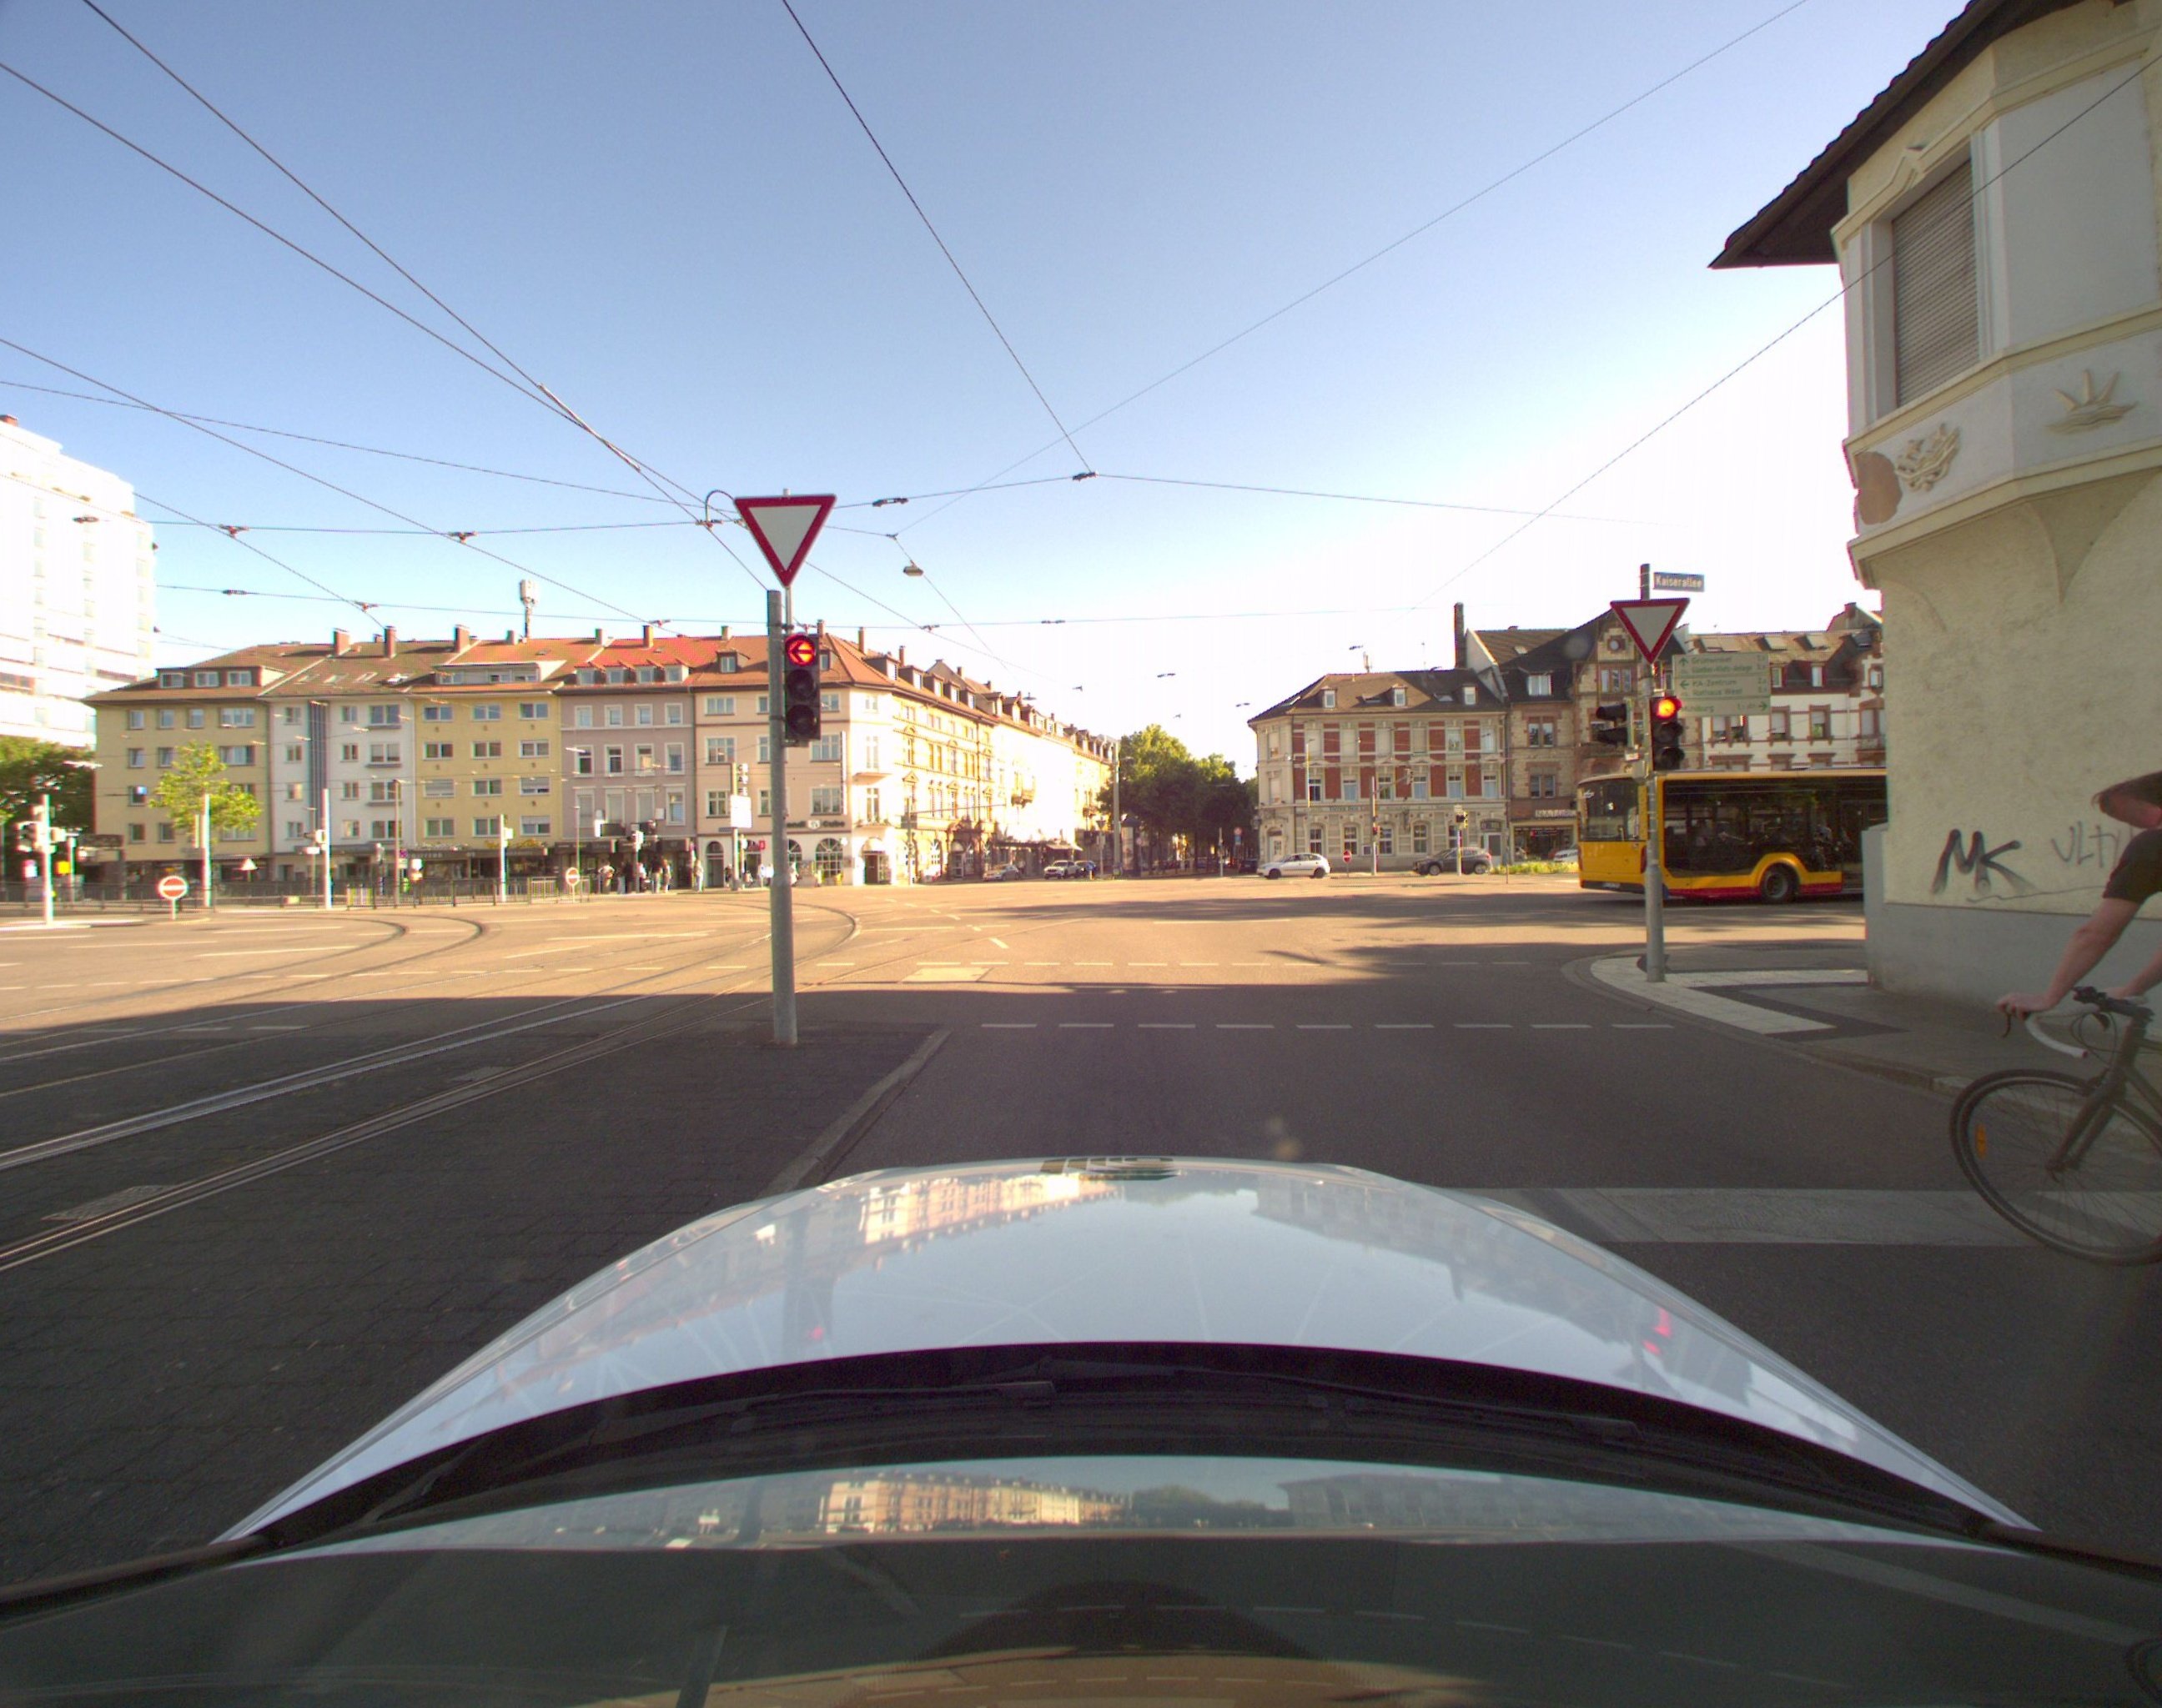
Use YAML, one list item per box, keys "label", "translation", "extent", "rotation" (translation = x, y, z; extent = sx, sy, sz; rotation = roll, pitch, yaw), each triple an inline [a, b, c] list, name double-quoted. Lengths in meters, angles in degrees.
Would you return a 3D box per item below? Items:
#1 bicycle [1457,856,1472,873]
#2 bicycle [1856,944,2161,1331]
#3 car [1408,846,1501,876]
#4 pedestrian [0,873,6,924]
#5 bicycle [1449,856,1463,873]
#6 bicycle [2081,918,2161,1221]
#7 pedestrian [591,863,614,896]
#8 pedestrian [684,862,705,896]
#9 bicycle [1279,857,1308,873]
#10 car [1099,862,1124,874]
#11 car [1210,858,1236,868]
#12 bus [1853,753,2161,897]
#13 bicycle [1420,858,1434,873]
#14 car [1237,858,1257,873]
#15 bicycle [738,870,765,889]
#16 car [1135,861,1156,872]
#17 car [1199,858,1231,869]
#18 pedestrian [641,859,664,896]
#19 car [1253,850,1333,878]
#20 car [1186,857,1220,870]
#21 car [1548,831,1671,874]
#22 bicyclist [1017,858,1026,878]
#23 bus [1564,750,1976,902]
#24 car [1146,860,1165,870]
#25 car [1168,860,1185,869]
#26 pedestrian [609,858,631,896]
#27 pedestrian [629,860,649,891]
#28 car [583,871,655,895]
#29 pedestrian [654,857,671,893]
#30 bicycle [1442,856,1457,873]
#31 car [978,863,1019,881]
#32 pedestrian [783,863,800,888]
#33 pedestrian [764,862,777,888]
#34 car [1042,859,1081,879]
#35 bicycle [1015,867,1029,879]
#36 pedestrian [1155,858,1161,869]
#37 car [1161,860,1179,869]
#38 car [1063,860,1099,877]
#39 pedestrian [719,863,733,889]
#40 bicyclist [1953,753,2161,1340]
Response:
- label: "bicycle"
  translation: [24.819, 0.674, 52.728]
  extent: [0.483, 1.020, 1.789]
  rotation: [-1, 0, 12]
- label: "bicycle"
  translation: [3.565, 0.918, 2.514]
  extent: [0.568, 1.058, 1.890]
  rotation: [-1, 0, 2]
- label: "car"
  translation: [22.009, 0.407, 48.060]
  extent: [4.566, 1.615, 1.999]
  rotation: [-1, 0, -1]
- label: "pedestrian"
  translation: [-34.930, 1.440, 25.745]
  extent: [0.770, 1.611, 0.794]
  rotation: [-1, 0, -5]
- label: "bicycle"
  translation: [24.316, 0.678, 52.819]
  extent: [0.483, 1.020, 1.789]
  rotation: [-1, 0, 12]
- label: "bicycle"
  translation: [4.509, 0.857, 2.500]
  extent: [0.568, 1.165, 1.890]
  rotation: [-1, 0, 2]
- label: "pedestrian"
  translation: [-24.903, 1.307, 42.389]
  extent: [0.764, 1.682, 0.628]
  rotation: [-1, 0, 1]
- label: "pedestrian"
  translation: [-20.016, 1.287, 42.189]
  extent: [0.738, 1.682, 0.628]
  rotation: [-1, 0, 1]
- label: "bicycle"
  translation: [14.914, 0.748, 57.152]
  extent: [1.940, 1.054, 0.717]
  rotation: [-1, 0, 11]
- label: "car"
  translation: [3.830, 1.711, 102.187]
  extent: [1.977, 1.404, 4.189]
  rotation: [-1, 0, 18]
- label: "car"
  translation: [19.378, 1.212, 111.202]
  extent: [3.409, 1.239, 1.582]
  rotation: [-1, 0, 13]
- label: "bus"
  translation: [25.982, -0.749, 21.492]
  extent: [9.400, 3.457, 2.774]
  rotation: [0, 1, -7]
- label: "bicycle"
  translation: [22.484, 0.729, 52.991]
  extent: [0.483, 0.914, 1.789]
  rotation: [-1, 0, 12]
- label: "car"
  translation: [16.799, 1.130, 82.306]
  extent: [1.742, 1.420, 4.016]
  rotation: [-1, 0, 14]
- label: "bicycle"
  translation: [-23.172, 1.767, 57.319]
  extent: [1.714, 1.276, 0.385]
  rotation: [-1, 0, -16]
- label: "car"
  translation: [9.243, 1.813, 116.835]
  extent: [1.977, 1.404, 4.189]
  rotation: [-1, 0, 18]
- label: "car"
  translation: [17.334, 1.224, 105.174]
  extent: [3.959, 1.288, 1.700]
  rotation: [-1, 0, 13]
- label: "pedestrian"
  translation: [-21.566, 1.171, 41.004]
  extent: [0.764, 1.829, 0.723]
  rotation: [-1, 0, 1]
- label: "car"
  translation: [11.749, 0.558, 45.324]
  extent: [4.013, 1.423, 1.886]
  rotation: [-1, 0, 1]
- label: "car"
  translation: [14.961, 1.154, 99.520]
  extent: [3.959, 1.454, 1.687]
  rotation: [-1, 0, 13]
- label: "car"
  translation: [27.126, -0.087, 41.907]
  extent: [4.962, 2.013, 2.001]
  rotation: [-1, 0, 1]
- label: "bicyclist"
  translation: [-4.767, 1.093, 65.481]
  extent: [0.486, 1.601, 0.668]
  rotation: [-1, 0, 12]
- label: "bus"
  translation: [17.067, -0.685, 20.442]
  extent: [8.603, 3.457, 2.781]
  rotation: [0, 1, -6]
- label: "car"
  translation: [11.197, 1.688, 122.513]
  extent: [1.977, 1.404, 4.189]
  rotation: [-1, 0, 18]
- label: "car"
  translation: [16.025, 1.737, 136.431]
  extent: [1.977, 1.404, 4.189]
  rotation: [-1, 0, 18]
- label: "pedestrian"
  translation: [-23.080, 1.154, 40.792]
  extent: [0.625, 1.850, 0.778]
  rotation: [-1, 0, 1]
- label: "pedestrian"
  translation: [-22.919, 1.091, 42.212]
  extent: [0.697, 1.581, 0.559]
  rotation: [-1, 0, -4]
- label: "car"
  translation: [-30.344, 1.900, 53.544]
  extent: [3.711, 1.491, 1.820]
  rotation: [0, -1, 4]
- label: "pedestrian"
  translation: [-21.619, 1.080, 42.055]
  extent: [0.559, 1.786, 0.559]
  rotation: [-1, 0, -4]
- label: "bicycle"
  translation: [23.856, 0.681, 52.769]
  extent: [0.483, 1.020, 1.789]
  rotation: [-1, 0, 12]
- label: "car"
  translation: [-6.758, 1.476, 67.374]
  extent: [1.977, 1.361, 3.836]
  rotation: [-1, 0, 18]
- label: "pedestrian"
  translation: [-19.783, 1.444, 55.603]
  extent: [0.907, 1.682, 0.742]
  rotation: [-1, 0, -4]
- label: "pedestrian"
  translation: [-20.798, 1.402, 54.512]
  extent: [0.744, 1.682, 0.623]
  rotation: [-1, 0, -23]
- label: "car"
  translation: [-1.589, 1.217, 67.680]
  extent: [1.977, 1.516, 4.189]
  rotation: [-1, 0, 18]
- label: "bicycle"
  translation: [-4.761, 1.531, 65.579]
  extent: [0.650, 1.000, 1.671]
  rotation: [-1, -1, 14]
- label: "pedestrian"
  translation: [9.338, 1.130, 98.358]
  extent: [0.542, 1.385, 0.628]
  rotation: [-2, 0, 18]
- label: "car"
  translation: [14.326, 1.708, 131.272]
  extent: [1.977, 1.404, 4.189]
  rotation: [-1, 0, 18]
- label: "car"
  translation: [0.031, 1.310, 73.818]
  extent: [1.977, 1.404, 4.189]
  rotation: [-1, 0, 18]
- label: "pedestrian"
  translation: [-23.073, 1.409, 52.941]
  extent: [0.744, 1.682, 0.623]
  rotation: [-1, 0, -23]
- label: "bicyclist"
  translation: [3.564, 0.575, 2.512]
  extent: [0.649, 1.767, 0.995]
  rotation: [-1, 0, 2]
